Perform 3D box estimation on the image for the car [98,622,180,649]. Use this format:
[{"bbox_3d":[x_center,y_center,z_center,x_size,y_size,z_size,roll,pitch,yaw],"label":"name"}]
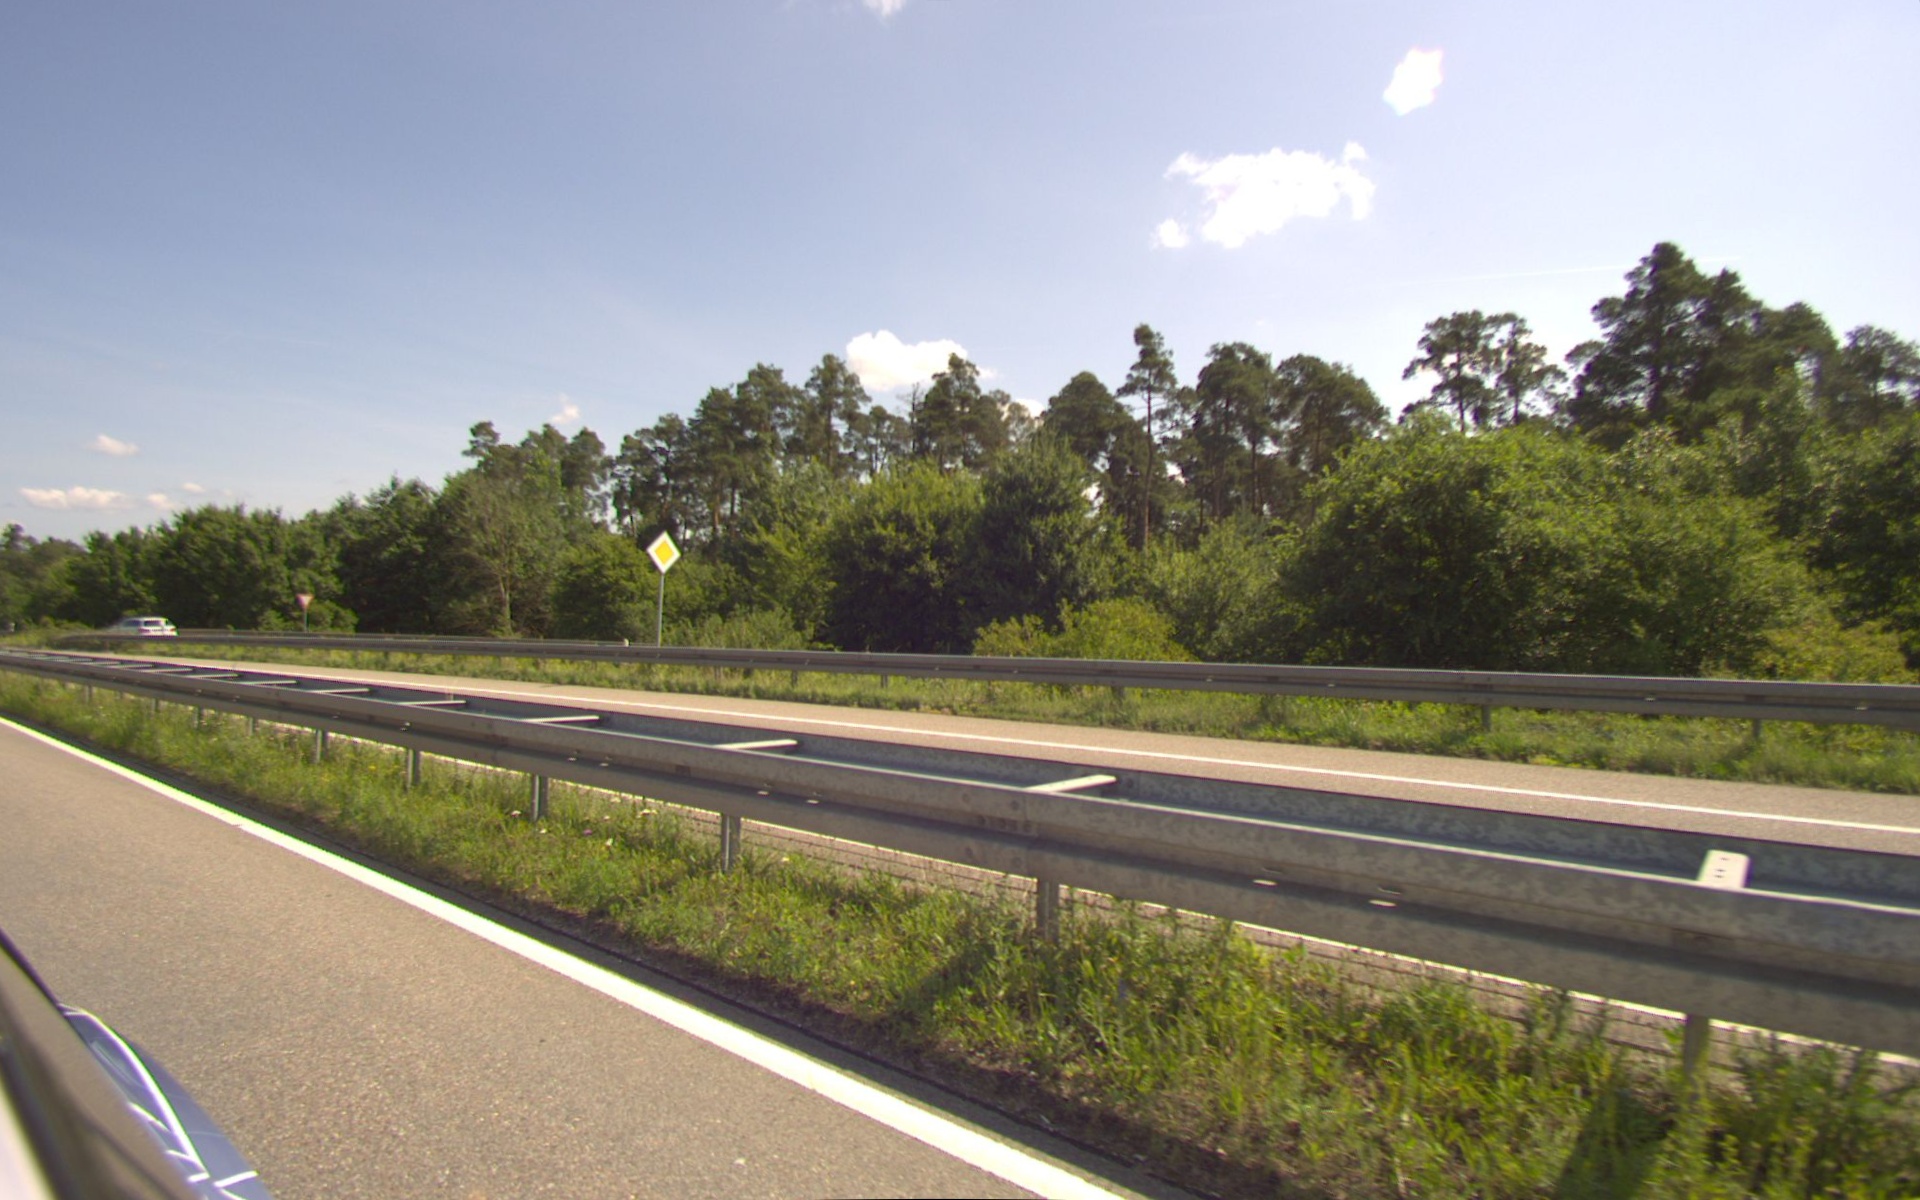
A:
[{"bbox_3d":[-45.313,1.961,55.847,4.814,1.425,1.934,-1,-1,30],"label":"car"}]
